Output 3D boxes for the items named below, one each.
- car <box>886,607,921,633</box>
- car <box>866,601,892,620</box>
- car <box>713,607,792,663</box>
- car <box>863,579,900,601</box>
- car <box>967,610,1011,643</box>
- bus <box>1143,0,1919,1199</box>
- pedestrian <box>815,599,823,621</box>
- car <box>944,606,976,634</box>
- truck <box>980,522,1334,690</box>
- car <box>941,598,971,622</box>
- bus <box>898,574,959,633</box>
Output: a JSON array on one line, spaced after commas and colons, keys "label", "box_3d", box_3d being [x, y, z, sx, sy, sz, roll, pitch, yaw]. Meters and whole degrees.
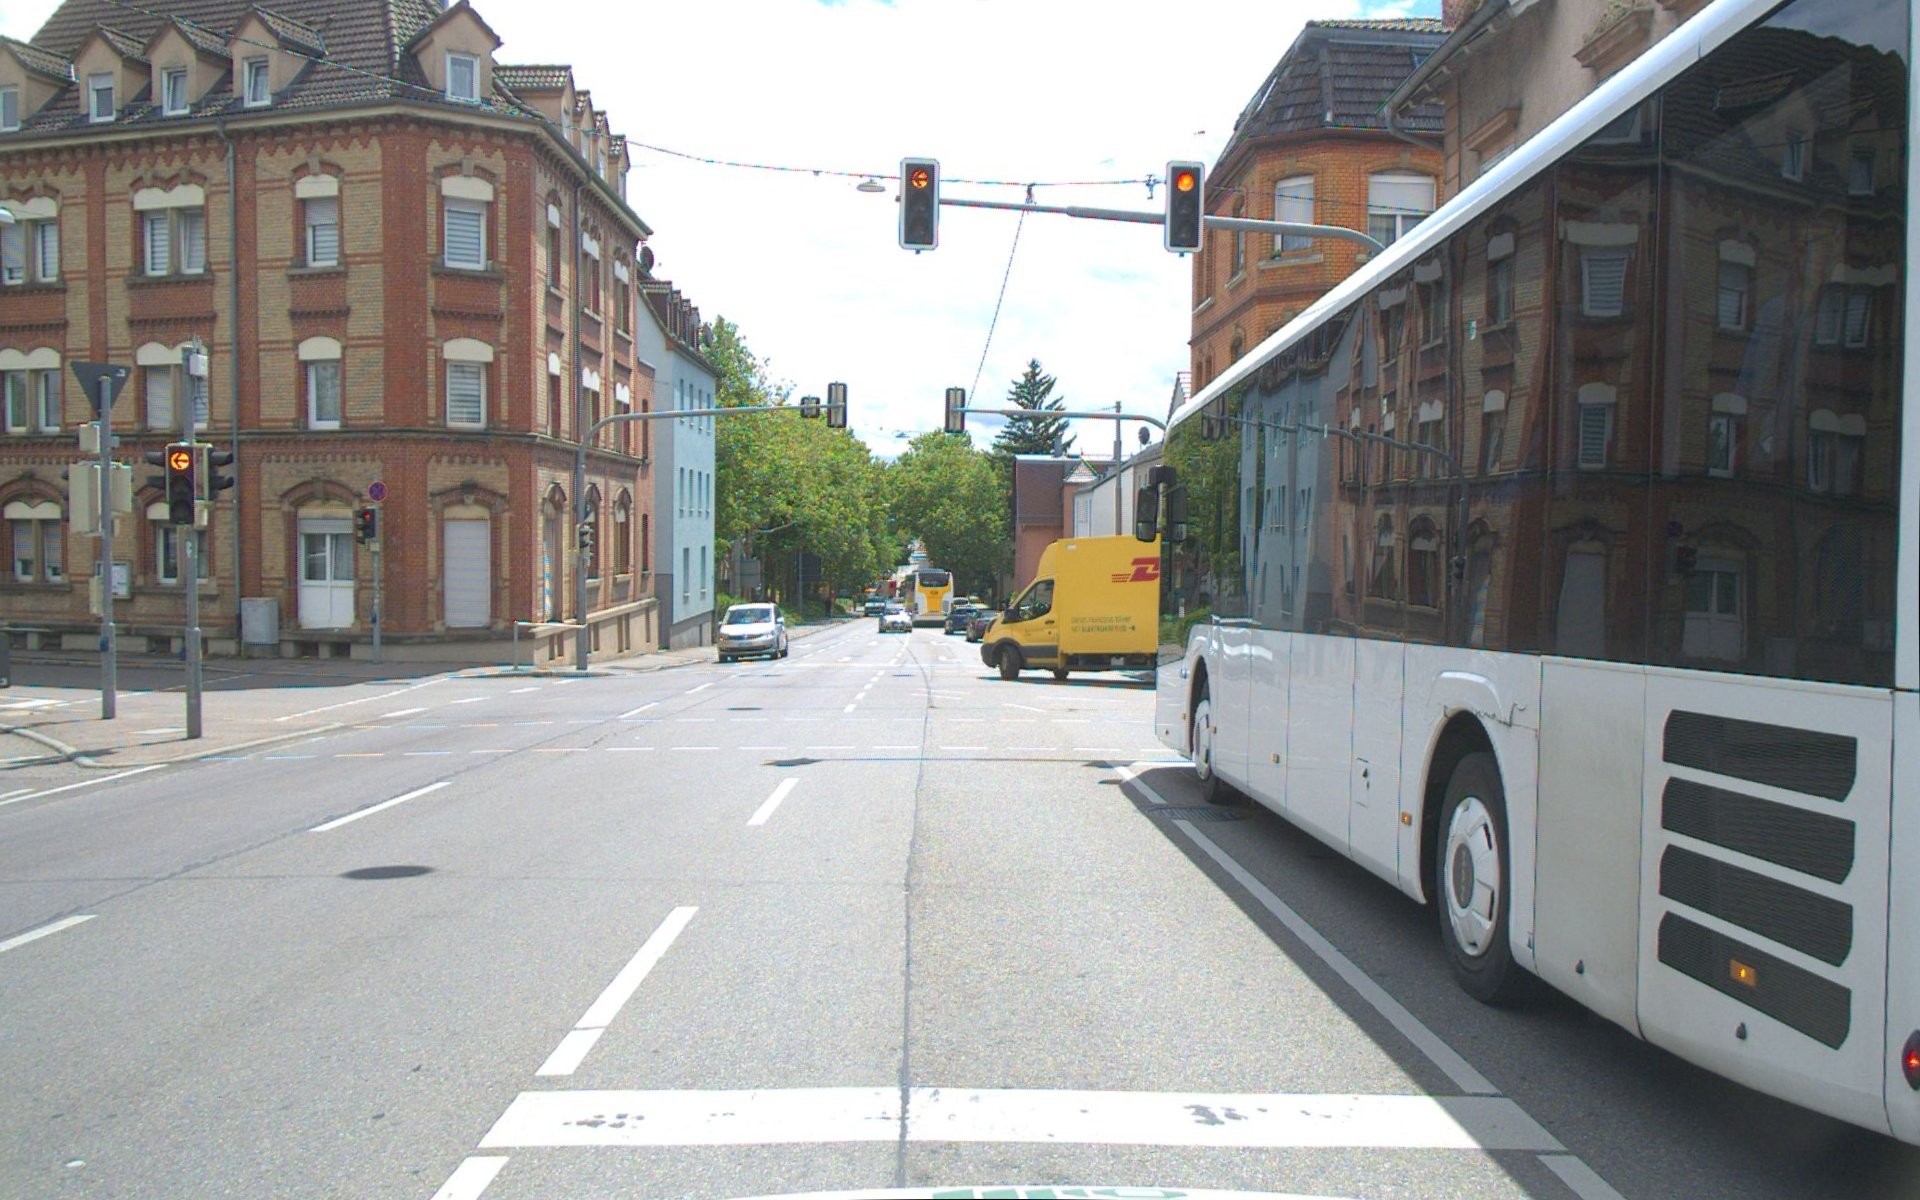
[{"label": "car", "box_3d": [-3.142, 1.091, 92.659, 1.827, 1.391, 4.546, 0, 0, -1]}, {"label": "car", "box_3d": [-7.272, 0.926, 148.426, 2.162, 1.641, 4.546, 0, 0, -1]}, {"label": "car", "box_3d": [-6.256, 1.030, 50.203, 1.896, 1.591, 4.388, 0, 0, -1]}, {"label": "car", "box_3d": [-11.382, -1.424, 240.082, 2.108, 3.124, 5.598, 1, -1, 39]}, {"label": "car", "box_3d": [1.277, 1.180, 74.772, 1.827, 1.391, 4.546, 0, 0, -1]}, {"label": "bus", "box_3d": [3.262, -0.200, 9.293, 2.845, 3.571, 12.484, 1, 0, -1]}, {"label": "pedestrian", "box_3d": [-11.598, 0.830, 136.211, 0.594, 1.789, 0.653, 0, 0, -2]}, {"label": "car", "box_3d": [-0.008, 1.021, 85.958, 1.576, 1.400, 3.999, 0, 0, -1]}, {"label": "truck", "box_3d": [3.729, 0.087, 32.148, 6.445, 2.964, 2.538, 1, 0, 38]}, {"label": "car", "box_3d": [-0.318, 0.769, 129.050, 2.050, 1.862, 4.139, 0, 0, -4]}, {"label": "bus", "box_3d": [-2.184, 0.233, 110.176, 3.236, 3.694, 11.232, -1, 0, -5]}]
